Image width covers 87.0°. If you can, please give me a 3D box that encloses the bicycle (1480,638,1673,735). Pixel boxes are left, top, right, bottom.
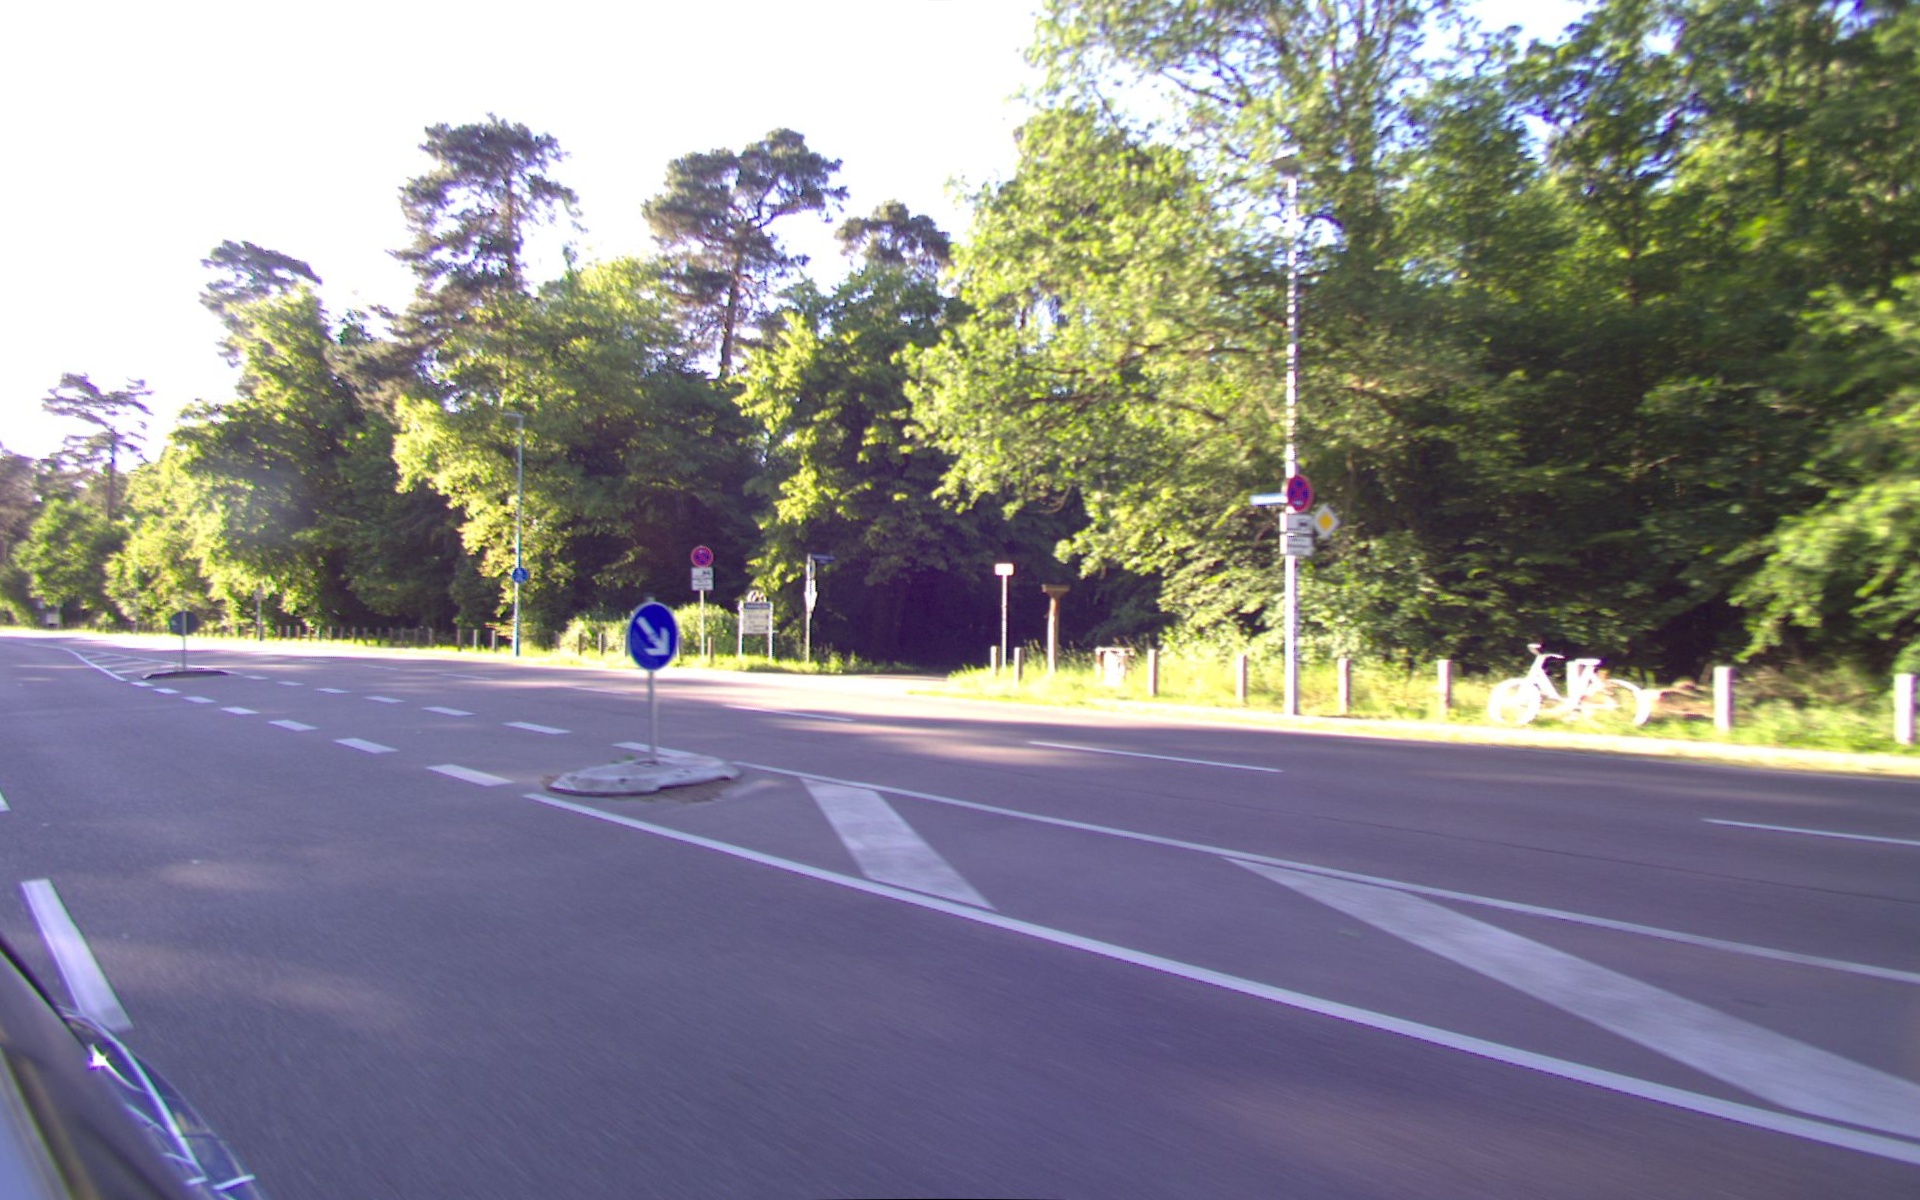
[{"bbox_3d":[8.206,1.111,13.592,0.396,1.140,2.224,-1,0,-36],"label":"bicycle"}]
